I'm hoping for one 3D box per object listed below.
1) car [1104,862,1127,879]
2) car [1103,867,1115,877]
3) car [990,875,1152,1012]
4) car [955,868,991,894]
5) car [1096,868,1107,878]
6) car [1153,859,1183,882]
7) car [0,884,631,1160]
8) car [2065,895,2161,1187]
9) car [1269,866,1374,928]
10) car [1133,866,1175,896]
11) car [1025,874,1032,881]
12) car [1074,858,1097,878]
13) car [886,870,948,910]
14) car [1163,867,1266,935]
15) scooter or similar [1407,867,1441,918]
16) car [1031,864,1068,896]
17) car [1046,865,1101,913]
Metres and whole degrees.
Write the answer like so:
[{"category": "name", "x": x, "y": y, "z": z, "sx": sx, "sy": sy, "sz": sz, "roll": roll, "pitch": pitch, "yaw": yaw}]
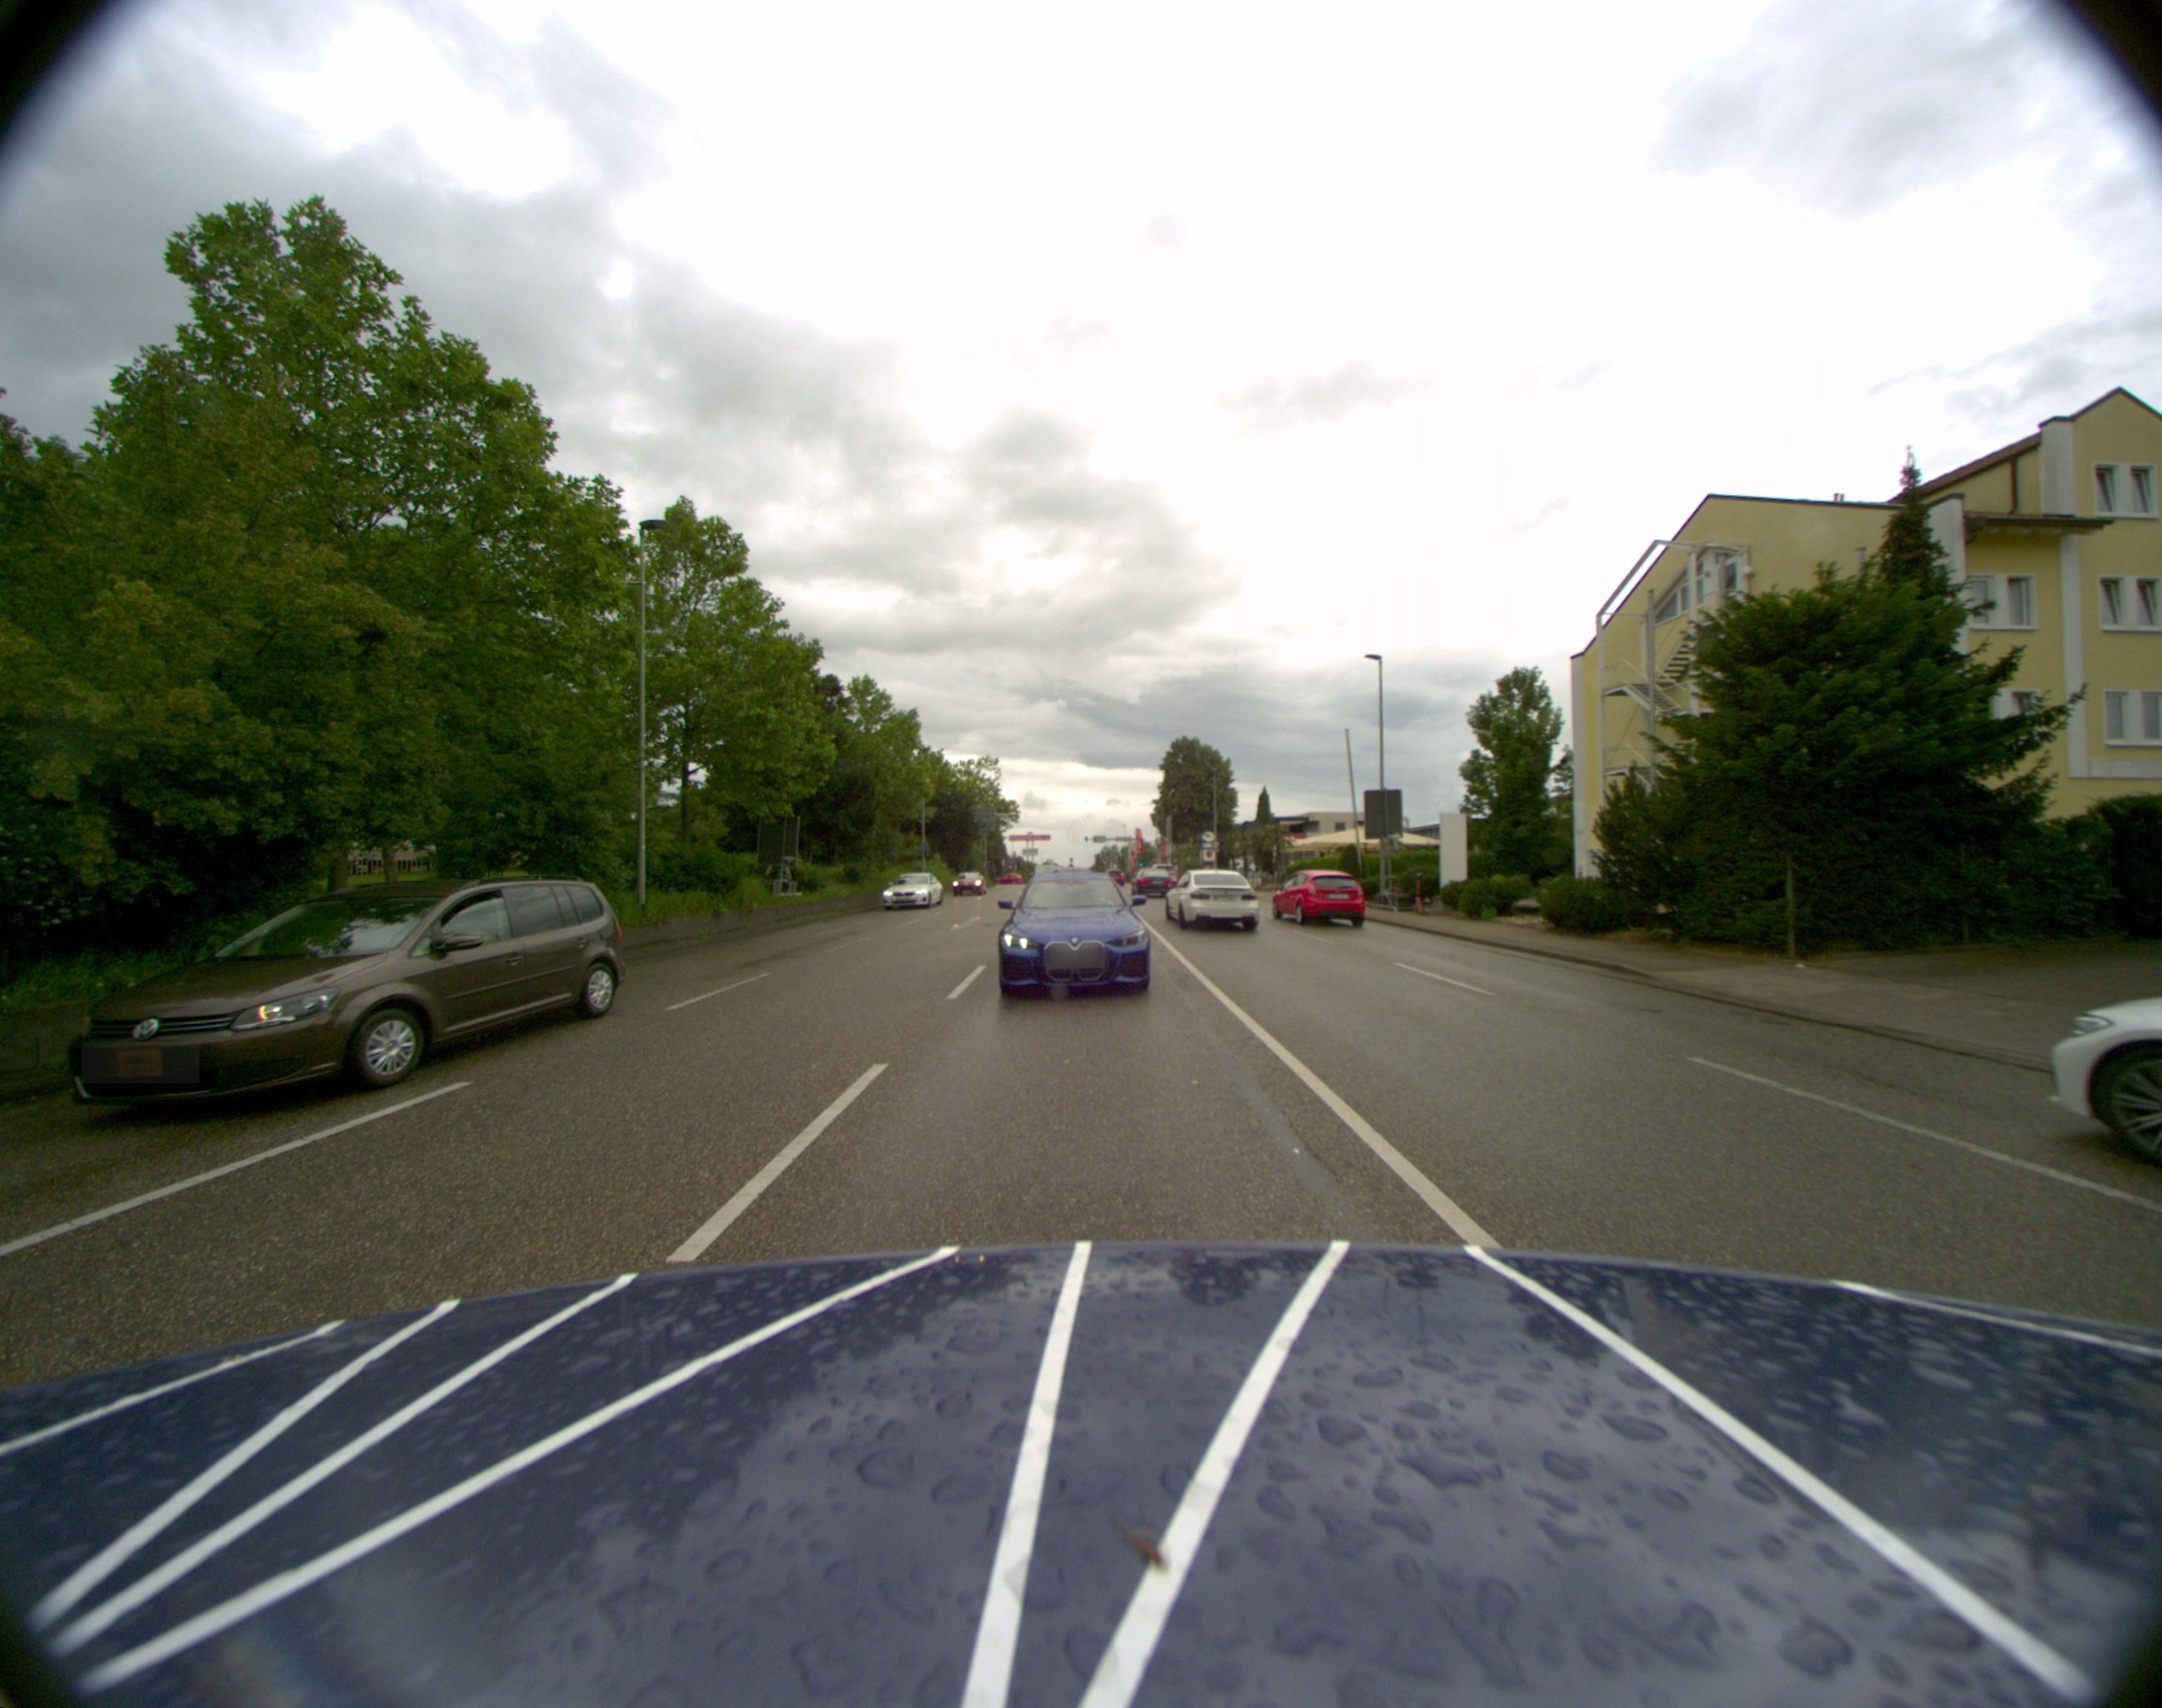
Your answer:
[{"category": "car", "x": 2.958, "y": 1.405, "z": 65.408, "sx": 1.764, "sy": 1.418, "sz": 3.780, "roll": -1, "pitch": 0, "yaw": -1}, {"category": "car", "x": 4.879, "y": 3.175, "z": 132.774, "sx": 1.903, "sy": 1.641, "sz": 3.999, "roll": 0, "pitch": 0, "yaw": -1}, {"category": "car", "x": -0.101, "y": 1.063, "z": 10.681, "sx": 1.803, "sy": 1.399, "sz": 4.272, "roll": 0, "pitch": 0, "yaw": 0}, {"category": "car", "x": -6.500, "y": 1.627, "z": 46.053, "sx": 1.629, "sy": 1.395, "sz": 3.689, "roll": -2, "pitch": 0, "yaw": -1}, {"category": "car", "x": 3.857, "y": 3.624, "z": 145.045, "sx": 1.903, "sy": 1.641, "sz": 3.999, "roll": 0, "pitch": 0, "yaw": -1}, {"category": "car", "x": 6.654, "y": 1.272, "z": 58.562, "sx": 1.764, "sy": 1.665, "sz": 3.780, "roll": -1, "pitch": 0, "yaw": -1}, {"category": "car", "x": -6.224, "y": 1.171, "z": 6.948, "sx": 1.740, "sy": 1.566, "sz": 4.068, "roll": -2, "pitch": 0, "yaw": 0}, {"category": "car", "x": 6.351, "y": 0.964, "z": 1.993, "sx": 1.790, "sy": 1.451, "sz": 4.432, "roll": 0, "pitch": 0, "yaw": 0}, {"category": "car", "x": 6.563, "y": 1.132, "z": 21.131, "sx": 1.699, "sy": 1.467, "sz": 3.780, "roll": 1, "pitch": 0, "yaw": 0}, {"category": "car", "x": 3.570, "y": 1.301, "z": 37.700, "sx": 1.699, "sy": 1.345, "sz": 3.780, "roll": 2, "pitch": 0, "yaw": 0}, {"category": "car", "x": -13.944, "y": 6.207, "z": 202.310, "sx": 1.812, "sy": 1.718, "sz": 3.998, "roll": -3, "pitch": 1, "yaw": -3}, {"category": "car", "x": 0.361, "y": 1.121, "z": 61.046, "sx": 1.807, "sy": 1.543, "sz": 4.000, "roll": 0, "pitch": 0, "yaw": 1}, {"category": "car", "x": -6.906, "y": 1.492, "z": 32.364, "sx": 1.669, "sy": 1.418, "sz": 4.304, "roll": -2, "pitch": 0, "yaw": 0}, {"category": "car", "x": 3.258, "y": 1.101, "z": 19.309, "sx": 1.820, "sy": 1.373, "sz": 4.272, "roll": -2, "pitch": 0, "yaw": 0}, {"category": "scooter or similar", "x": 10.125, "y": 1.110, "z": 22.476, "sx": 0.505, "sy": 1.398, "sz": 1.882, "roll": 0, "pitch": 0, "yaw": 11}, {"category": "car", "x": -1.656, "y": 1.363, "z": 41.148, "sx": 1.807, "sy": 1.543, "sz": 4.000, "roll": 0, "pitch": 0, "yaw": 1}, {"category": "car", "x": -0.220, "y": 1.184, "z": 27.188, "sx": 1.807, "sy": 1.543, "sz": 4.223, "roll": 0, "pitch": -1, "yaw": 1}]
